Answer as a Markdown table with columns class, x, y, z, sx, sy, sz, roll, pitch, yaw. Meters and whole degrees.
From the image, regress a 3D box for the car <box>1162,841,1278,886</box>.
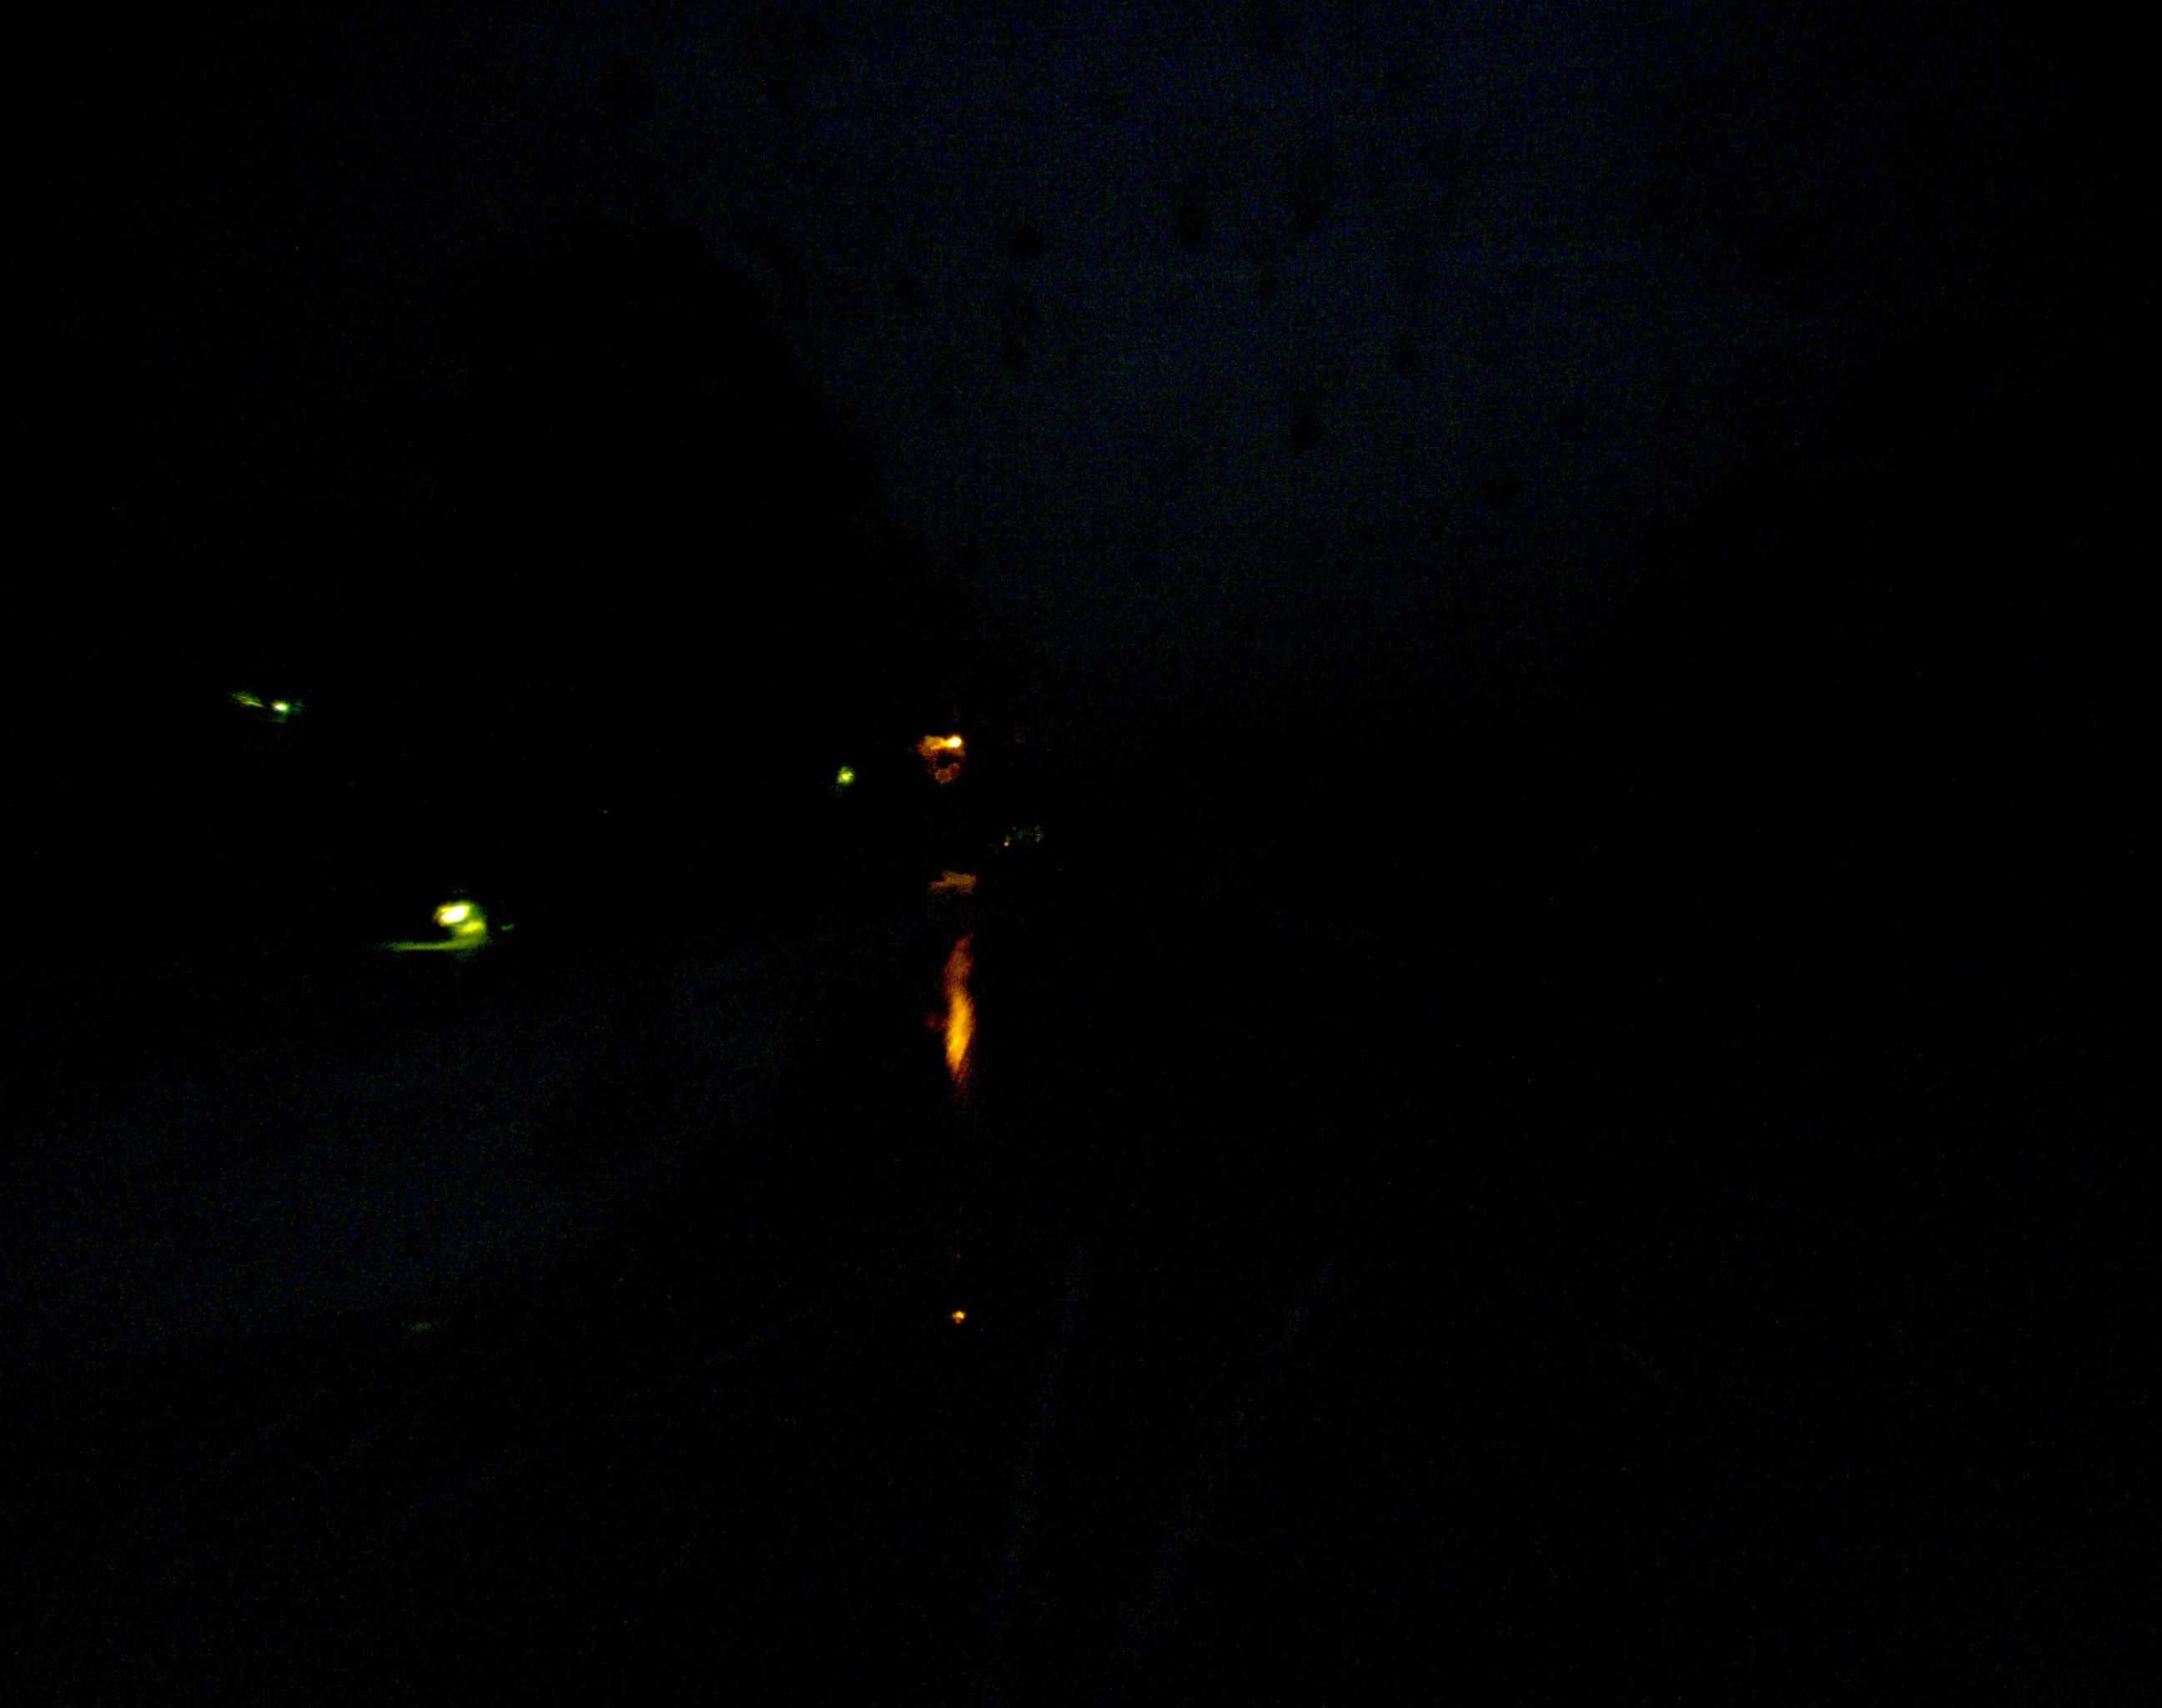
| class | x | y | z | sx | sy | sz | roll | pitch | yaw |
| --- | --- | --- | --- | --- | --- | --- | --- | --- | --- |
| car | 6.957 | 0.460 | 38.327 | 5.278 | 2.003 | 2.211 | 1 | 3 | -9 |

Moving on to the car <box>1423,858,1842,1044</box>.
| class | x | y | z | sx | sy | sz | roll | pitch | yaw |
| --- | --- | --- | --- | --- | --- | --- | --- | --- | --- |
| car | 5.400 | 0.829 | 8.080 | 1.723 | 1.525 | 3.515 | 1 | -1 | -5 |

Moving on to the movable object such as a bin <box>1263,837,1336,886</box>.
| class | x | y | z | sx | sy | sz | roll | pitch | yaw |
| --- | --- | --- | --- | --- | --- | --- | --- | --- | --- |
| movable object such as a bin | 7.818 | 0.270 | 27.297 | 2.367 | 1.639 | 1.443 | -3 | 0 | 15 |
